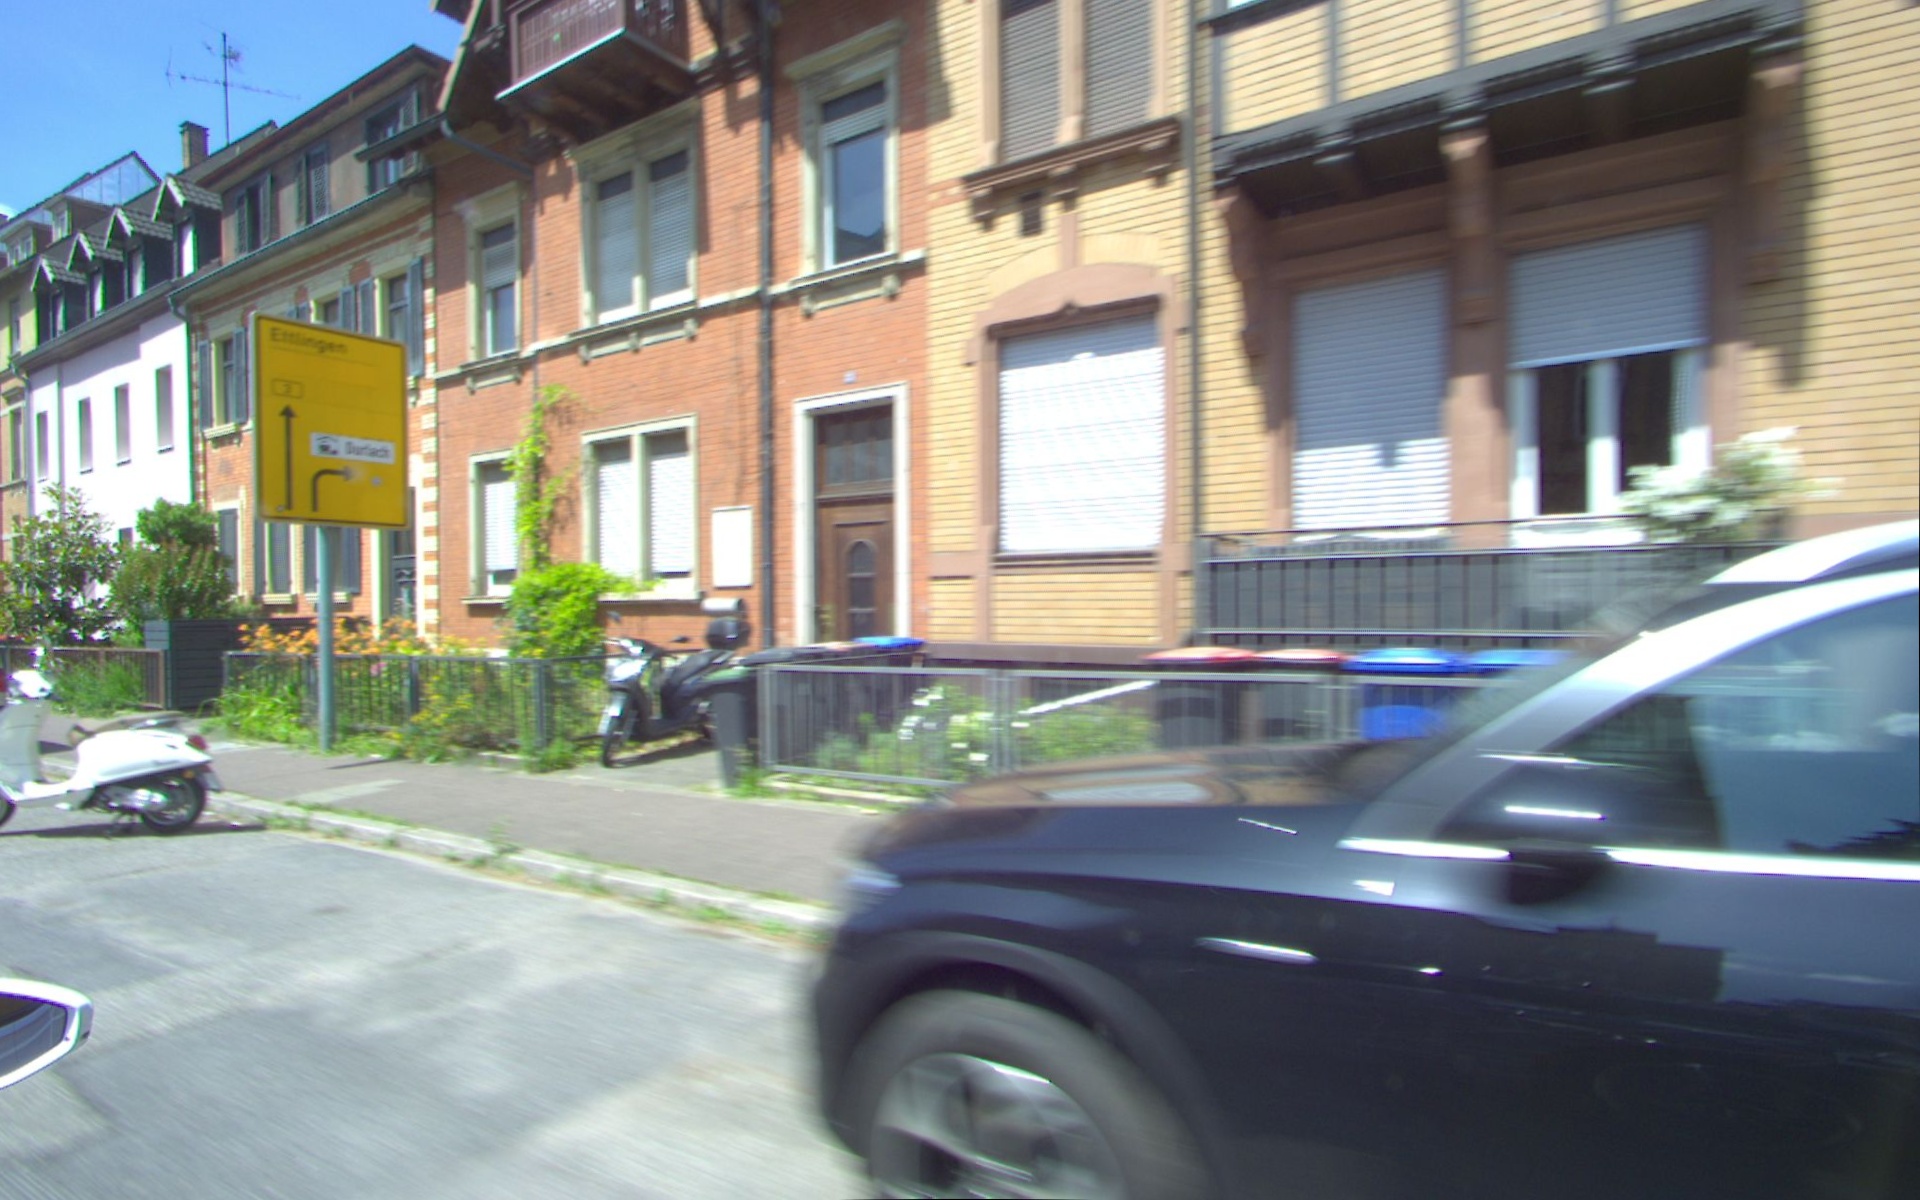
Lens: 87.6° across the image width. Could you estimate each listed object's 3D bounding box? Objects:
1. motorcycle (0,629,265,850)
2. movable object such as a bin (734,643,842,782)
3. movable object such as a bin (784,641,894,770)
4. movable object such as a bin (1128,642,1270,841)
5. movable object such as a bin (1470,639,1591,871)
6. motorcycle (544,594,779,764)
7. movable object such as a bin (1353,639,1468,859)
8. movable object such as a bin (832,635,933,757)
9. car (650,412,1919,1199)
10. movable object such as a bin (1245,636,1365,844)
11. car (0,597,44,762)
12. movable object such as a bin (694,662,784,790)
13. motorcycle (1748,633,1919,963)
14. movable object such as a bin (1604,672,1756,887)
[{"bbox_3d":[-6.260,0.927,7.078,1.962,1.404,1.110,0,0,-20],"label":"motorcycle"},{"bbox_3d":[-1.468,0.933,8.572,0.717,1.090,0.555,0,1,33],"label":"movable object such as a bin"},{"bbox_3d":[-1.093,0.929,9.091,0.738,1.069,0.657,0,1,33],"label":"movable object such as a bin"},{"bbox_3d":[1.511,0.838,6.279,0.676,1.103,0.786,0,1,29],"label":"movable object such as a bin"},{"bbox_3d":[3.070,0.784,5.415,0.531,1.103,0.786,0,1,29],"label":"movable object such as a bin"},{"bbox_3d":[-2.890,0.693,9.961,0.924,1.428,2.124,0,2,31],"label":"motorcycle"},{"bbox_3d":[2.573,0.797,5.689,0.535,1.103,0.786,0,1,29],"label":"movable object such as a bin"},{"bbox_3d":[-0.740,0.899,9.646,0.750,1.091,0.607,0,1,33],"label":"movable object such as a bin"},{"bbox_3d":[1.731,0.606,1.979,4.559,1.684,1.989,-1,1,32],"label":"car"},{"bbox_3d":[2.073,0.788,5.976,0.545,1.103,0.786,0,1,29],"label":"movable object such as a bin"},{"bbox_3d":[-12.584,0.851,11.416,4.548,1.770,1.858,0,-1,30],"label":"car"},{"bbox_3d":[-1.790,0.996,8.108,0.519,0.954,0.480,0,1,33],"label":"movable object such as a bin"},{"bbox_3d":[4.004,0.780,3.955,1.338,1.254,0.439,0,3,32],"label":"motorcycle"},{"bbox_3d":[3.615,0.861,5.079,0.531,0.919,0.786,0,1,29],"label":"movable object such as a bin"}]
